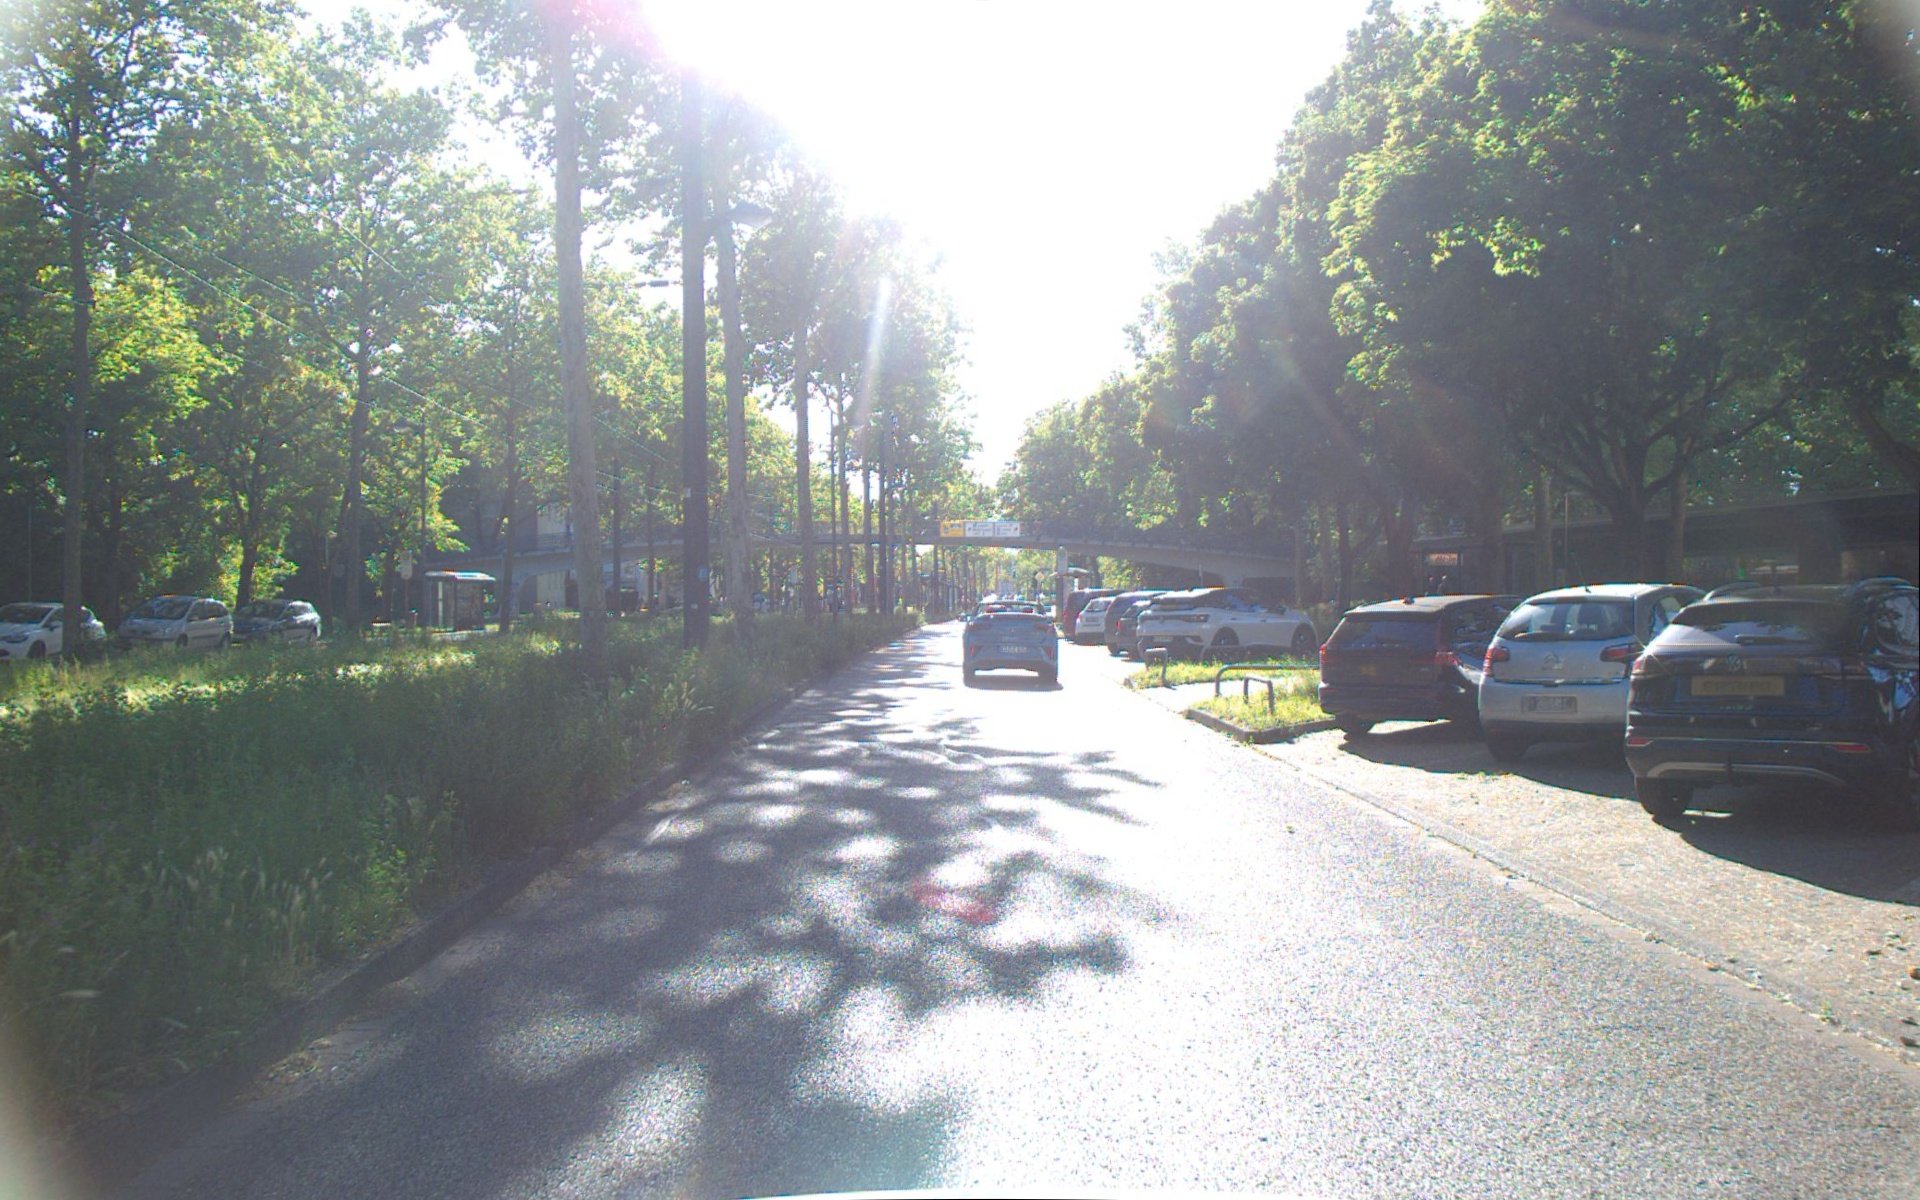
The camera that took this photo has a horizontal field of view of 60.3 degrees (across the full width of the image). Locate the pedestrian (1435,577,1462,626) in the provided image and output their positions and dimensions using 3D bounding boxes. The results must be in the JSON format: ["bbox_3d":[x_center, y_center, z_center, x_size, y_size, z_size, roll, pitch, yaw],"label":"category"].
[{"bbox_3d":[20.384,0.050,69.031,0.814,2.049,0.739,0,0,-41],"label":"pedestrian"}]

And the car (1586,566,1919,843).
[{"bbox_3d":[6.380,0.574,11.920,1.825,1.597,4.593,-1,0,44],"label":"car"}]

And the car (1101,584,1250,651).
[{"bbox_3d":[5.981,0.465,45.607,1.823,1.710,4.585,-3,-1,41],"label":"car"}]

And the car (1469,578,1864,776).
[{"bbox_3d":[6.771,0.603,15.582,4.590,1.597,1.826,-1,0,-45],"label":"car"}]

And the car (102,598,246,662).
[{"bbox_3d":[-22.117,0.808,46.724,1.952,1.617,4.168,2,0,1],"label":"car"}]

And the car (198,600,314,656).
[{"bbox_3d":[-22.214,0.841,52.328,1.750,1.617,4.168,2,0,1],"label":"car"}]

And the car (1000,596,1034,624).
[{"bbox_3d":[3.537,0.592,103.419,1.953,1.680,4.000,1,0,0],"label":"car"}]

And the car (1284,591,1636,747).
[{"bbox_3d":[5.663,0.663,18.389,1.945,1.484,4.595,-1,0,43],"label":"car"}]

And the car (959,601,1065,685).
[{"bbox_3d":[0.942,0.779,31.599,1.883,1.436,4.000,1,1,0],"label":"car"}]

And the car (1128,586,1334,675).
[{"bbox_3d":[5.643,0.597,34.110,4.587,1.710,1.827,1,0,-44],"label":"car"}]

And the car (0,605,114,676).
[{"bbox_3d":[-22.113,0.912,39.178,1.952,1.478,4.001,2,0,1],"label":"car"}]

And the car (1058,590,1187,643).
[{"bbox_3d":[5.548,0.547,56.134,4.587,1.710,1.827,1,0,-44],"label":"car"}]

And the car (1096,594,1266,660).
[{"bbox_3d":[5.652,0.645,41.976,4.588,1.548,1.827,-1,0,-44],"label":"car"}]

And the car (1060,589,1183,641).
[{"bbox_3d":[5.813,0.528,59.093,4.587,1.799,1.827,1,0,-44],"label":"car"}]
